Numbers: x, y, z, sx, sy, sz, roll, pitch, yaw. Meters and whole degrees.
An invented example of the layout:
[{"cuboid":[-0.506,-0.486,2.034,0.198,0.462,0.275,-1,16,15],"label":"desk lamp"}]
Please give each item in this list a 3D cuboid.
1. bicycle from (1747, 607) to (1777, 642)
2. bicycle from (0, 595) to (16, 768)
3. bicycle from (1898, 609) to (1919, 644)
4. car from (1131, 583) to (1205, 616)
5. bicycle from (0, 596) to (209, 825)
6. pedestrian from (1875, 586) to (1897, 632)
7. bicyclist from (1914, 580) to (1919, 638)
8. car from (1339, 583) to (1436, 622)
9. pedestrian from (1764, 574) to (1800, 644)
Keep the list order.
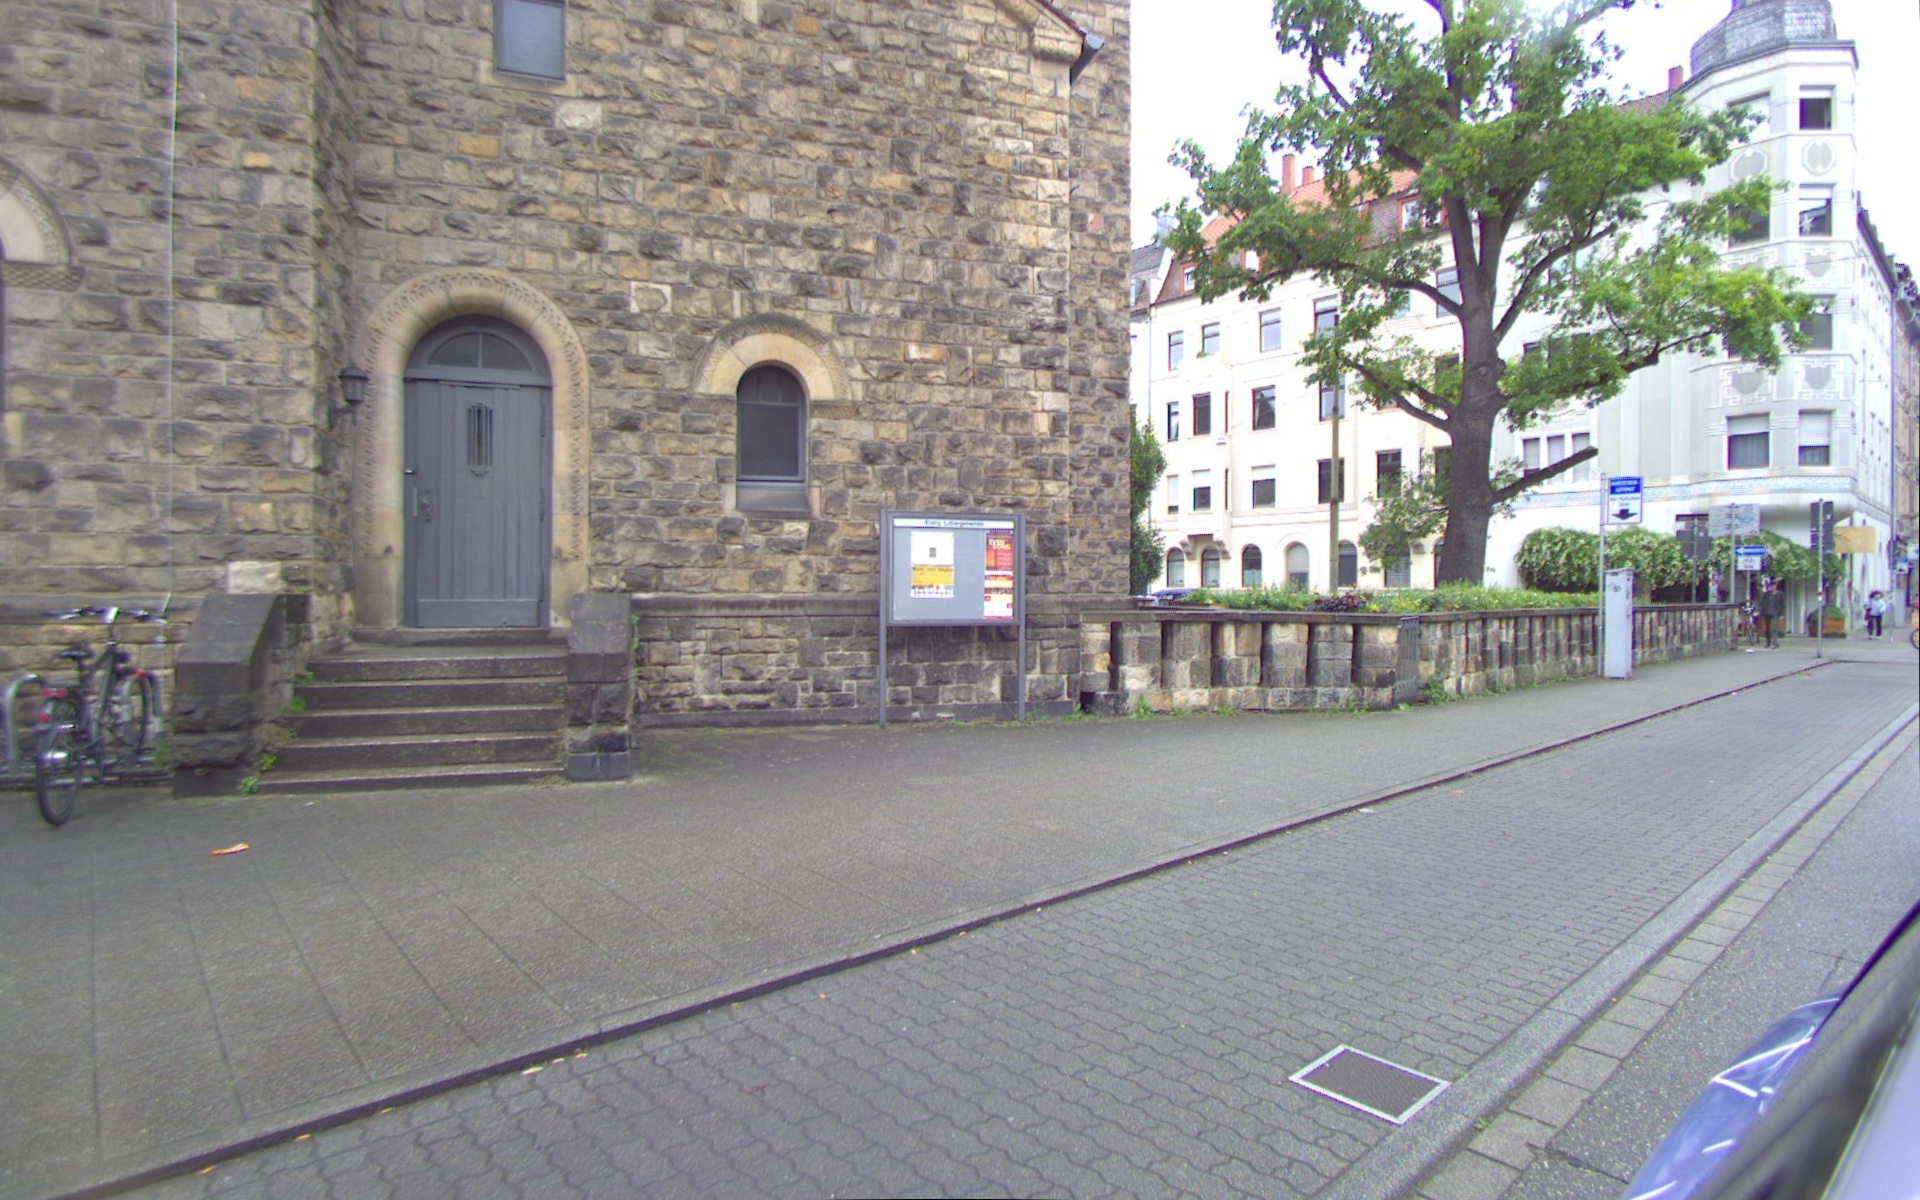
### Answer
[{"cuboid":[24.486,0.734,30.888,1.990,0.904,0.390,-3,3,-42],"label":"bicycle"},{"cuboid":[-6.273,0.570,5.972,0.550,1.125,1.717,0,3,-27],"label":"bicycle"},{"cuboid":[26.035,0.704,26.733,1.756,0.896,0.534,0,0,16],"label":"bicycle"},{"cuboid":[9.744,-0.045,47.604,1.421,1.427,3.271,0,1,-38],"label":"car"},{"cuboid":[-5.057,0.555,6.100,0.502,1.067,1.994,0,3,-27],"label":"bicycle"},{"cuboid":[30.013,0.297,32.796,0.385,1.479,0.481,0,1,-42],"label":"pedestrian"},{"cuboid":[26.054,0.253,26.730,1.119,1.549,0.534,0,0,16],"label":"bicyclist"},{"cuboid":[16.901,0.069,40.090,1.421,1.427,3.271,0,1,-38],"label":"car"},{"cuboid":[22.799,0.229,28.056,0.681,1.896,0.645,0,1,-42],"label":"pedestrian"}]
